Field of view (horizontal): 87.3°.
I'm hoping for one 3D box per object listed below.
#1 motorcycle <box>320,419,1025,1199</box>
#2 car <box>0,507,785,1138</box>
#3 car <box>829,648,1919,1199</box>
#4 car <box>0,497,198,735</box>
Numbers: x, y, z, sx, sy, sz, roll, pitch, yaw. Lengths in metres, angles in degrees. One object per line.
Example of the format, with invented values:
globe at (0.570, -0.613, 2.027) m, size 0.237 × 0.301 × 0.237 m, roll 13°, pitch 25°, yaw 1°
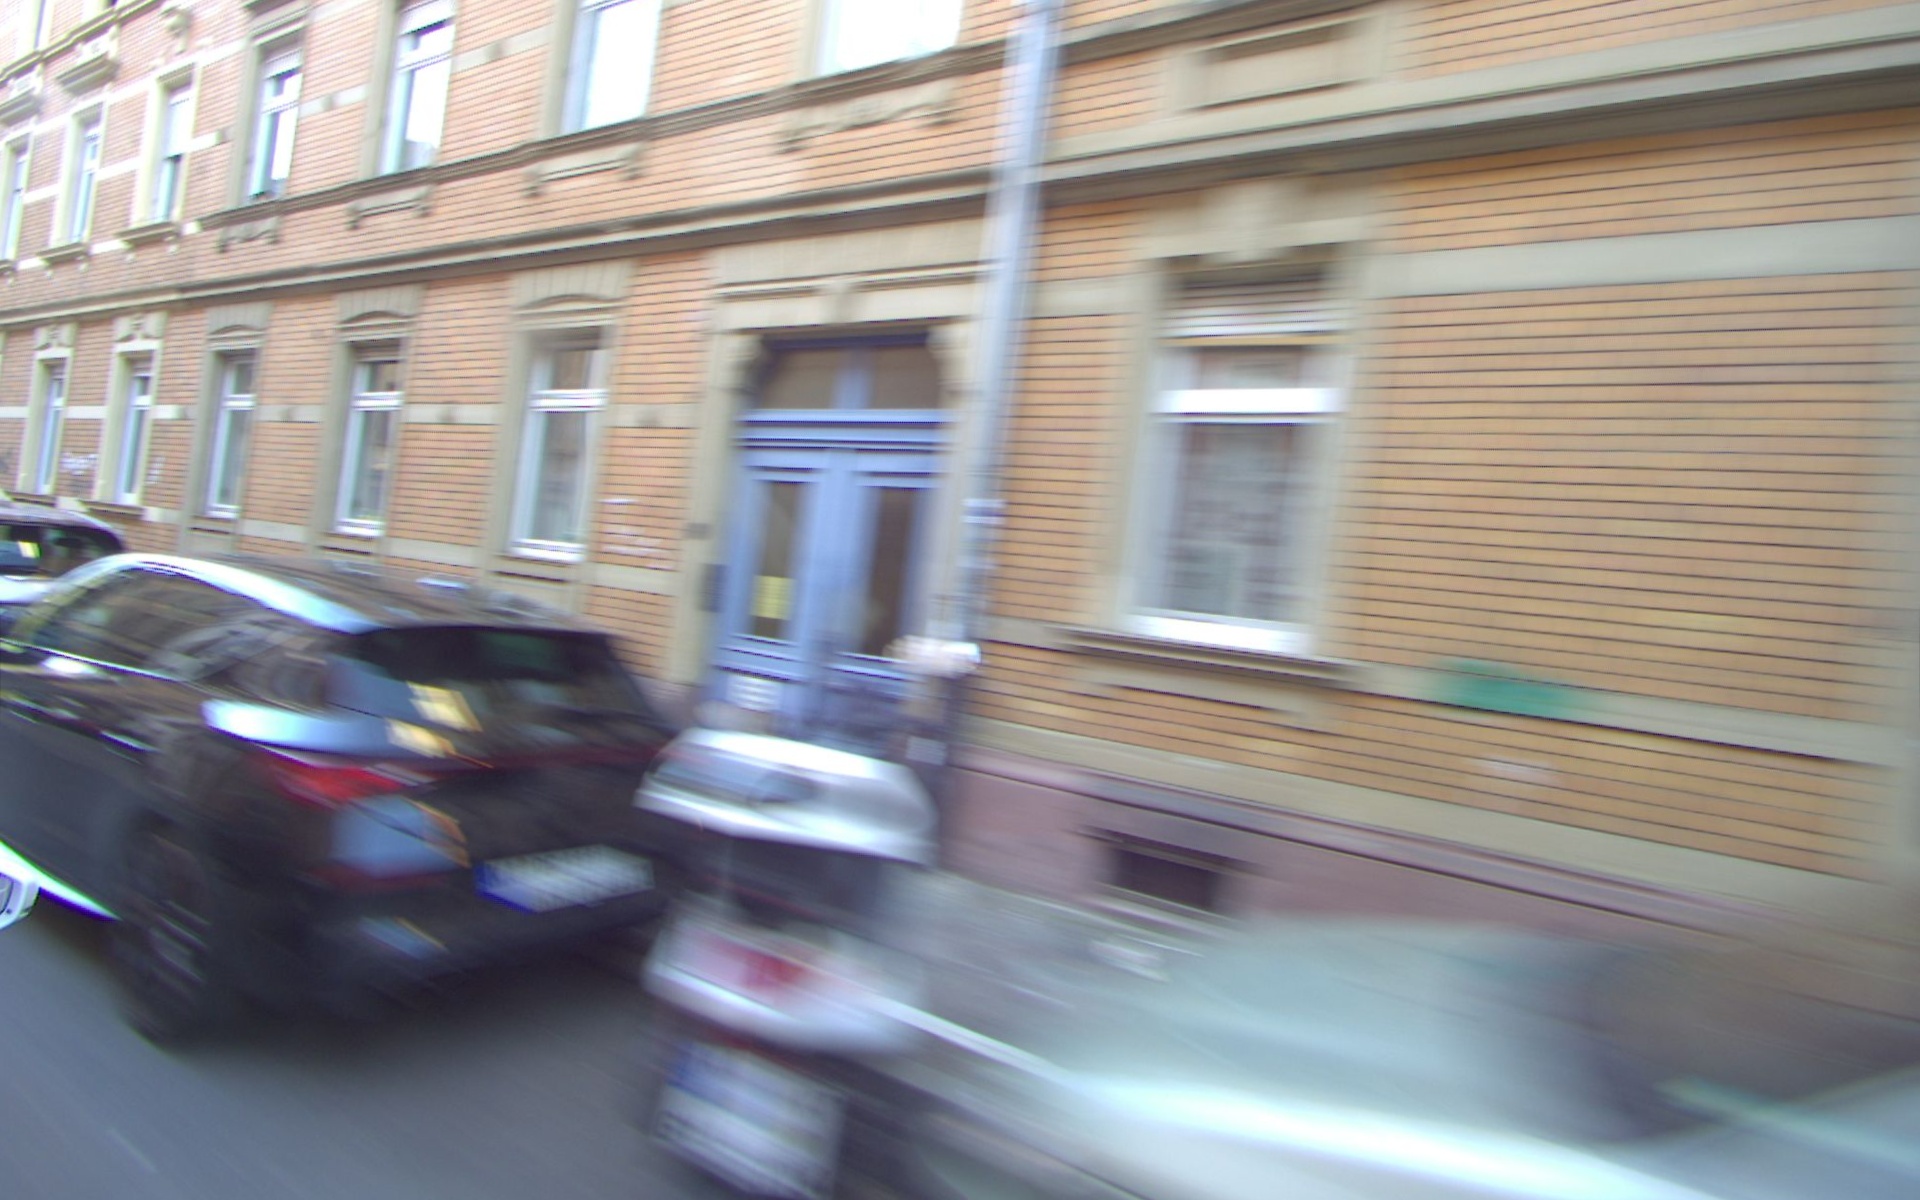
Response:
motorcycle at (-0.405, 0.631, 2.668) m, size 0.873 × 1.553 × 2.231 m, roll 8°, pitch -3°, yaw 6°
car at (-3.021, 0.484, 4.356) m, size 4.246 × 1.413 × 1.780 m, roll 7°, pitch -2°, yaw 32°
car at (1.882, 1.068, 1.466) m, size 3.927 × 1.422 × 1.694 m, roll 7°, pitch -1°, yaw 33°
car at (-7.702, -0.057, 7.549) m, size 4.024 × 1.437 × 1.726 m, roll 7°, pitch 3°, yaw 30°
